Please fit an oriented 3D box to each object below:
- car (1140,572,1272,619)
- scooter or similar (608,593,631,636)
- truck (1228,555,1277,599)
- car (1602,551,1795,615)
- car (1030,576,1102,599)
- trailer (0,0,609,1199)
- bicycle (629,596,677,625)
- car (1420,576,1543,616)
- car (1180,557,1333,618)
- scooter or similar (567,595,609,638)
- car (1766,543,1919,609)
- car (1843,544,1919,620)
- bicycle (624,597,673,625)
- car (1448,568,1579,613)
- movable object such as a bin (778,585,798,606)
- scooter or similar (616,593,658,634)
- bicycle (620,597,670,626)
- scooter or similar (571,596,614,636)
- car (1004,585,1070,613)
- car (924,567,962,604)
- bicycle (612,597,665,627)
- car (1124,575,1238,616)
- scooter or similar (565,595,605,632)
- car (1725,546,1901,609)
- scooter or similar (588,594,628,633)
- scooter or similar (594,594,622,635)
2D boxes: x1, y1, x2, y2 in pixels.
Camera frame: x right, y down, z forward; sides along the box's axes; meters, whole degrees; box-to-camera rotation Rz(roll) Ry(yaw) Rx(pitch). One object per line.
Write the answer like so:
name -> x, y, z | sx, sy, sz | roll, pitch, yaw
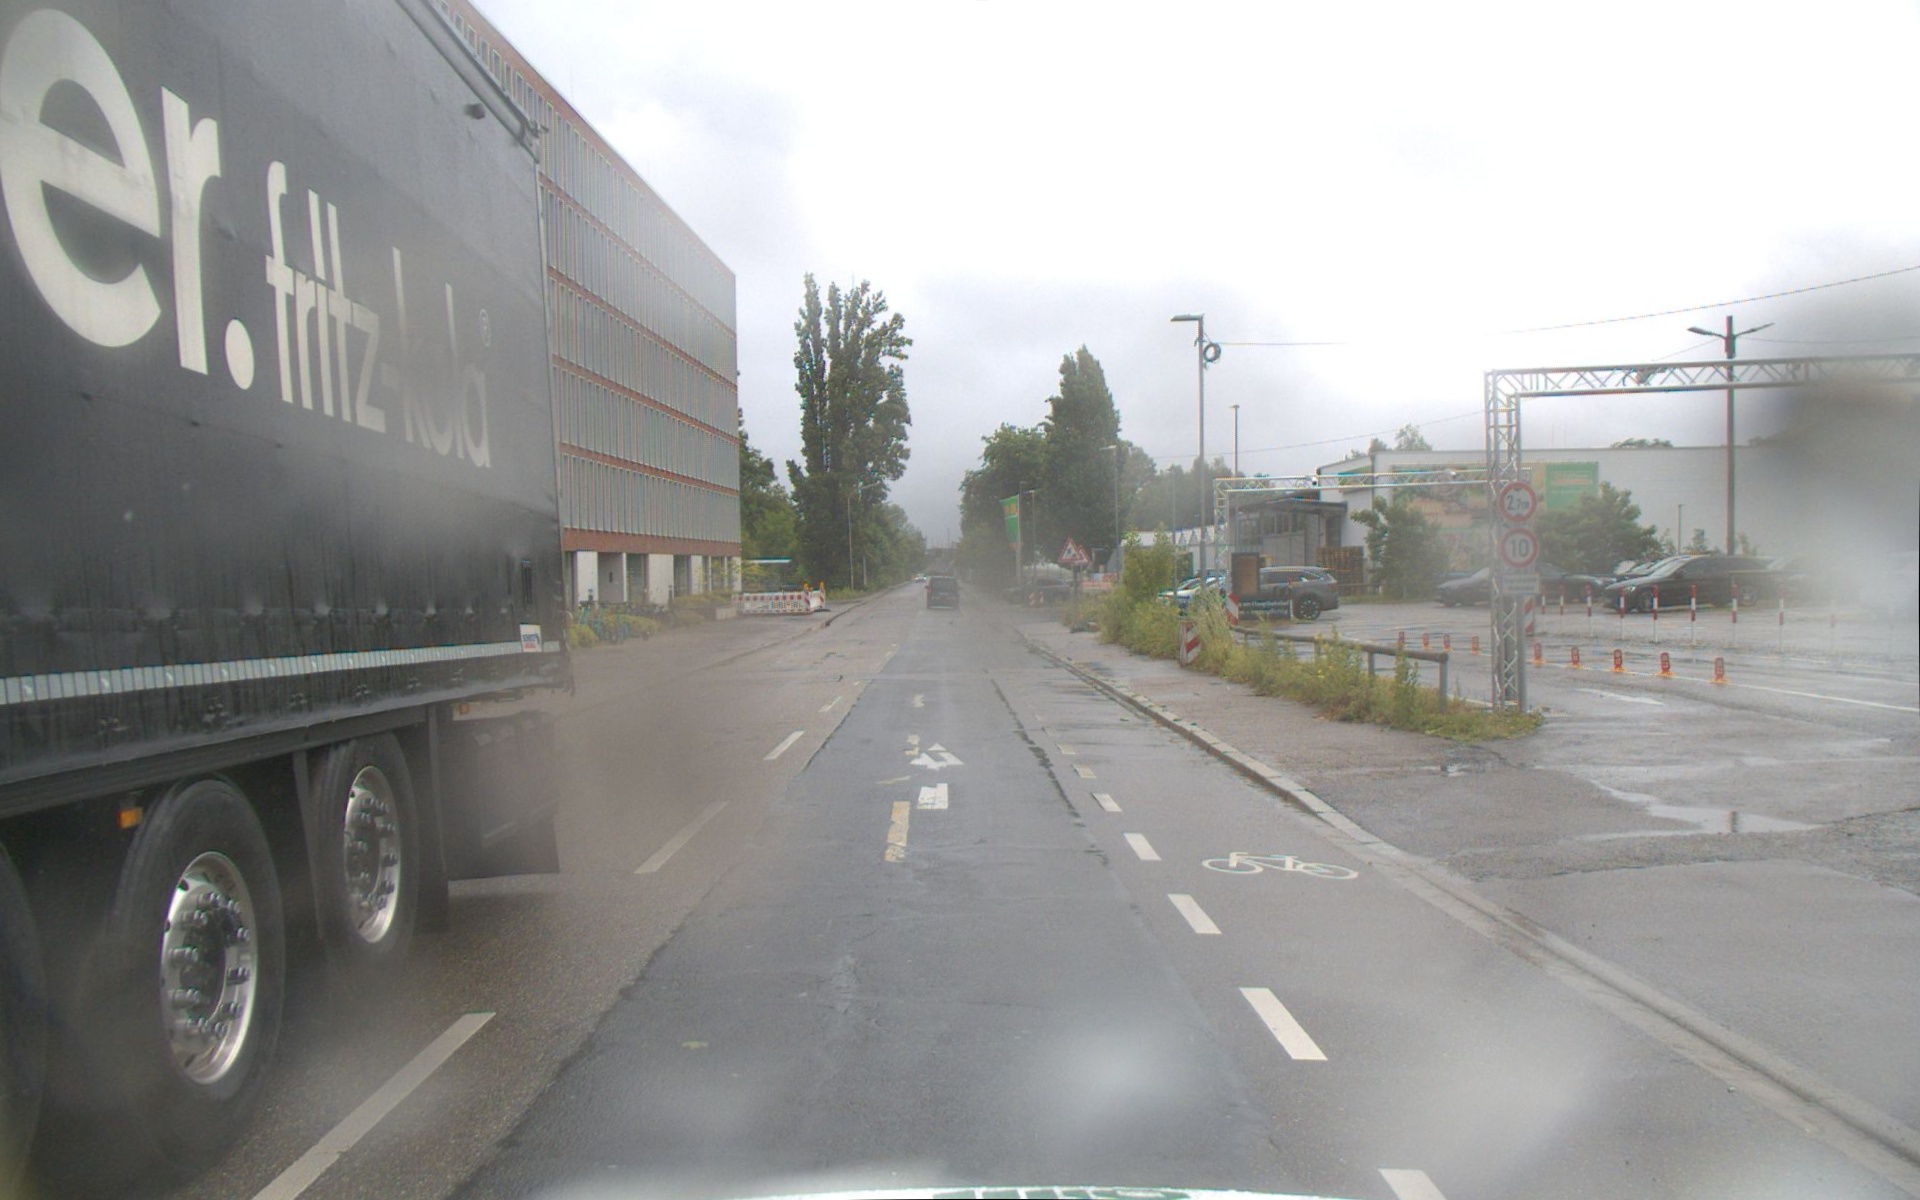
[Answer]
car -> 8.335, -0.134, 56.290 | 4.207, 1.543, 1.819 | 0, -1, 0
scooter or similar -> -10.331, 0.434, 50.197 | 0.456, 1.251, 1.320 | -2, 1, -3
truck -> 19.538, -1.551, 110.797 | 2.253, 2.705, 7.419 | -2, 1, 3
car -> 20.538, -0.461, 46.108 | 4.530, 1.746, 2.016 | 0, -1, -6
car -> 7.016, -0.811, 109.934 | 4.608, 1.488, 1.890 | 0, 1, -2
trailer -> -3.323, -0.595, 1.976 | 3.228, 4.735, 13.728 | -1, 0, -2
bicycle -> -12.259, 0.418, 66.081 | 1.822, 1.096, 0.544 | 1, 0, -2
car -> 19.075, -0.128, 60.616 | 3.905, 1.434, 2.000 | 0, -1, 0
car -> 9.488, -0.375, 53.262 | 4.583, 1.765, 2.129 | -2, -1, 4
scooter or similar -> -11.149, 0.486, 49.563 | 1.295, 1.251, 0.506 | -1, 1, 38
car -> 25.538, -0.692, 46.612 | 4.607, 1.633, 2.043 | -3, -1, -1
car -> 20.982, -0.451, 34.754 | 3.750, 1.510, 1.928 | -4, -1, 2
bicycle -> -12.291, 0.430, 65.218 | 1.822, 1.096, 0.544 | 1, 0, -2
car -> 19.238, -0.332, 57.632 | 3.905, 1.511, 2.000 | 0, -1, 0
movable object such as a bin -> -10.974, -0.295, 105.524 | 1.271, 1.331, 1.446 | -1, 1, -7
scooter or similar -> -10.304, 0.431, 52.778 | 1.291, 1.251, 0.467 | -1, 1, 29
bicycle -> -12.250, 0.442, 64.336 | 1.822, 1.096, 0.544 | 1, 0, -2
scooter or similar -> -11.637, 0.501, 52.383 | 1.293, 1.198, 0.466 | -2, 1, -13
car -> 4.762, -0.050, 102.525 | 4.050, 1.596, 1.766 | -2, 0, 2
car -> -0.970, -0.770, 90.944 | 1.953, 1.943, 4.200 | -2, 0, -1
bicycle -> -12.205, 0.444, 62.810 | 1.909, 1.096, 0.620 | 1, 0, -2
car -> 8.411, -0.165, 63.168 | 4.096, 1.536, 1.890 | 0, -1, 0
scooter or similar -> -12.690, 0.459, 55.973 | 1.200, 1.229, 0.418 | -2, 0, 7
car -> 26.465, -0.687, 51.406 | 4.351, 1.633, 2.043 | -3, -1, -1
scooter or similar -> -11.492, 0.450, 54.009 | 0.459, 1.229, 1.201 | -1, 1, 41
scooter or similar -> -10.960, 0.437, 51.491 | 0.461, 1.251, 1.308 | -2, 1, -29
